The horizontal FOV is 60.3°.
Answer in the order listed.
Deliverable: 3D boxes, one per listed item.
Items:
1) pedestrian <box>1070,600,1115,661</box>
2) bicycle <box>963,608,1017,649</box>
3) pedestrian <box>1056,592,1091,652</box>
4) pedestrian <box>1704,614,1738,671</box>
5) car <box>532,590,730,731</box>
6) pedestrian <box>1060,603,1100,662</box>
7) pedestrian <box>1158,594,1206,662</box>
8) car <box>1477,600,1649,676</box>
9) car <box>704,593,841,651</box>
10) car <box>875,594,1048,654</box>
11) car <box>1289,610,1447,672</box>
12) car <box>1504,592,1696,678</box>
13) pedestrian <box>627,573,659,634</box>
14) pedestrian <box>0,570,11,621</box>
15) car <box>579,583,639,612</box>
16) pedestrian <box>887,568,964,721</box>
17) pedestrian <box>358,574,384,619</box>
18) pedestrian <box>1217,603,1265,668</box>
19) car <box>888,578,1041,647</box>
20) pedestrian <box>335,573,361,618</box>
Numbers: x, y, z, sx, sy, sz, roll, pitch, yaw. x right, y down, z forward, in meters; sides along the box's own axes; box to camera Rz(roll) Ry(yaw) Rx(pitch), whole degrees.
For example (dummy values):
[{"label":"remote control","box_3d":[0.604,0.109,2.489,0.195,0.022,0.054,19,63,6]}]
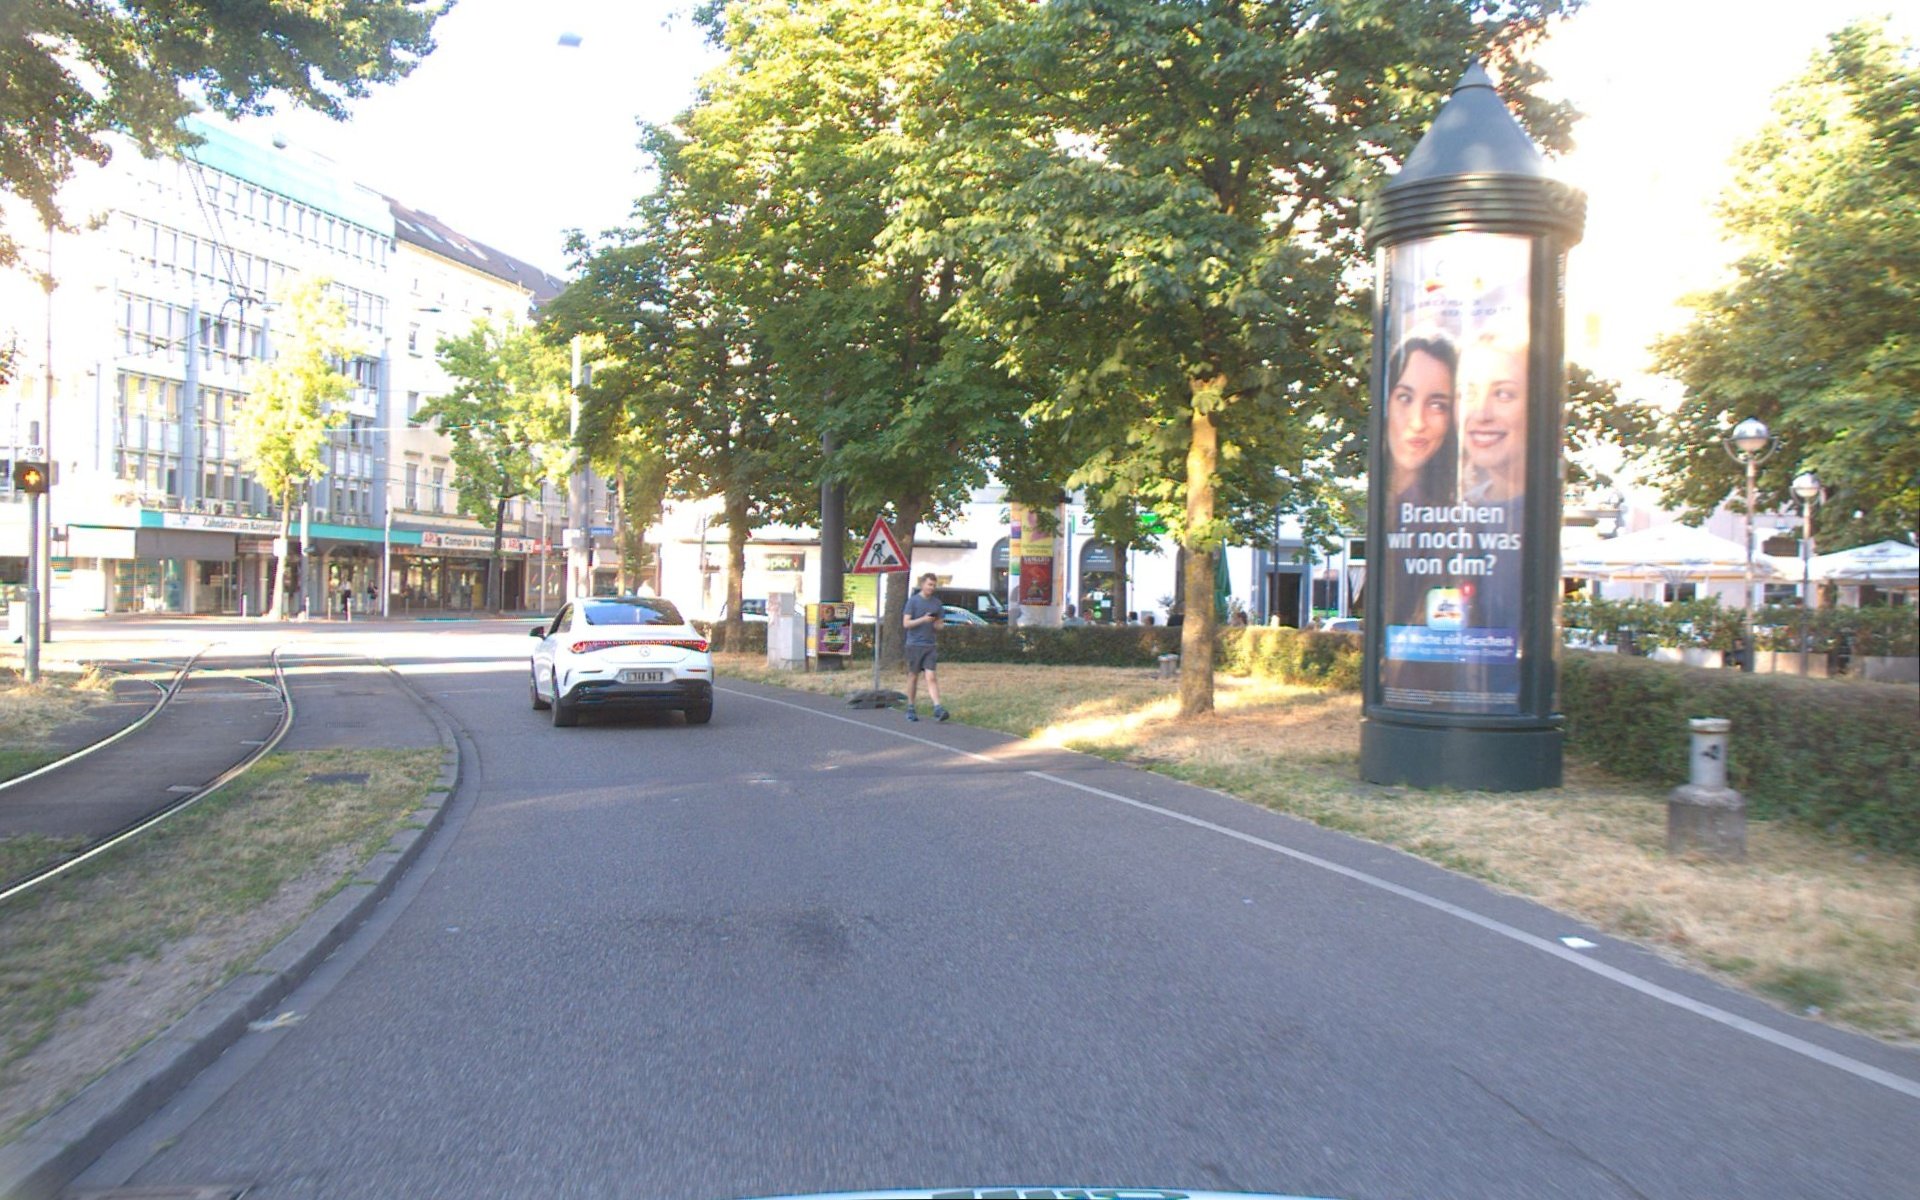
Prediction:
[{"label":"pedestrian","box_3d":[3.078,0.697,38.393,0.929,1.306,0.663,5,0,4]},{"label":"bicycle","box_3d":[0.726,0.692,39.897,0.544,0.946,1.524,1,-1,34]},{"label":"pedestrian","box_3d":[2.407,0.463,35.055,0.555,1.266,0.613,1,-1,21]},{"label":"pedestrian","box_3d":[15.488,0.856,33.649,0.546,1.137,0.492,1,-1,32]},{"label":"car","box_3d":[-4.076,0.643,20.022,1.840,1.494,4.020,0,1,-19]},{"label":"pedestrian","box_3d":[2.651,0.707,36.430,0.761,1.264,0.989,2,0,8]},{"label":"pedestrian","box_3d":[4.609,0.580,34.364,0.715,1.379,1.014,0,-1,25]},{"label":"car","box_3d":[17.400,1.085,47.925,4.401,1.998,2.025,2,-1,11]},{"label":"car","box_3d":[-5.323,0.607,47.226,3.489,1.540,1.740,1,0,11]},{"label":"car","box_3d":[0.059,0.663,46.053,4.558,1.540,1.740,1,0,11]},{"label":"car","box_3d":[12.002,1.191,48.937,4.401,1.645,2.025,2,0,11]},{"label":"car","box_3d":[16.466,0.889,42.750,4.327,2.049,2.002,1,0,13]},{"label":"pedestrian","box_3d":[-10.914,0.123,56.998,0.823,2.049,0.847,1,-1,6]},{"label":"pedestrian","box_3d":[-33.236,-0.161,56.469,0.887,1.732,1.161,1,-1,29]},{"label":"car","box_3d":[-20.769,-0.141,97.969,1.920,1.668,4.003,2,0,13]},{"label":"pedestrian","box_3d":[-0.405,0.519,19.578,0.638,1.774,0.580,2,0,-42]},{"label":"pedestrian","box_3d":[-27.235,-0.177,76.496,0.780,2.049,0.735,1,-1,13]},{"label":"pedestrian","box_3d":[5.809,0.733,34.198,0.648,1.264,0.951,5,0,25]},{"label":"car","box_3d":[0.180,0.382,51.267,4.401,1.998,2.025,1,0,11]},{"label":"pedestrian","box_3d":[-28.374,-0.207,76.698,0.780,2.049,0.735,1,-1,13]}]
